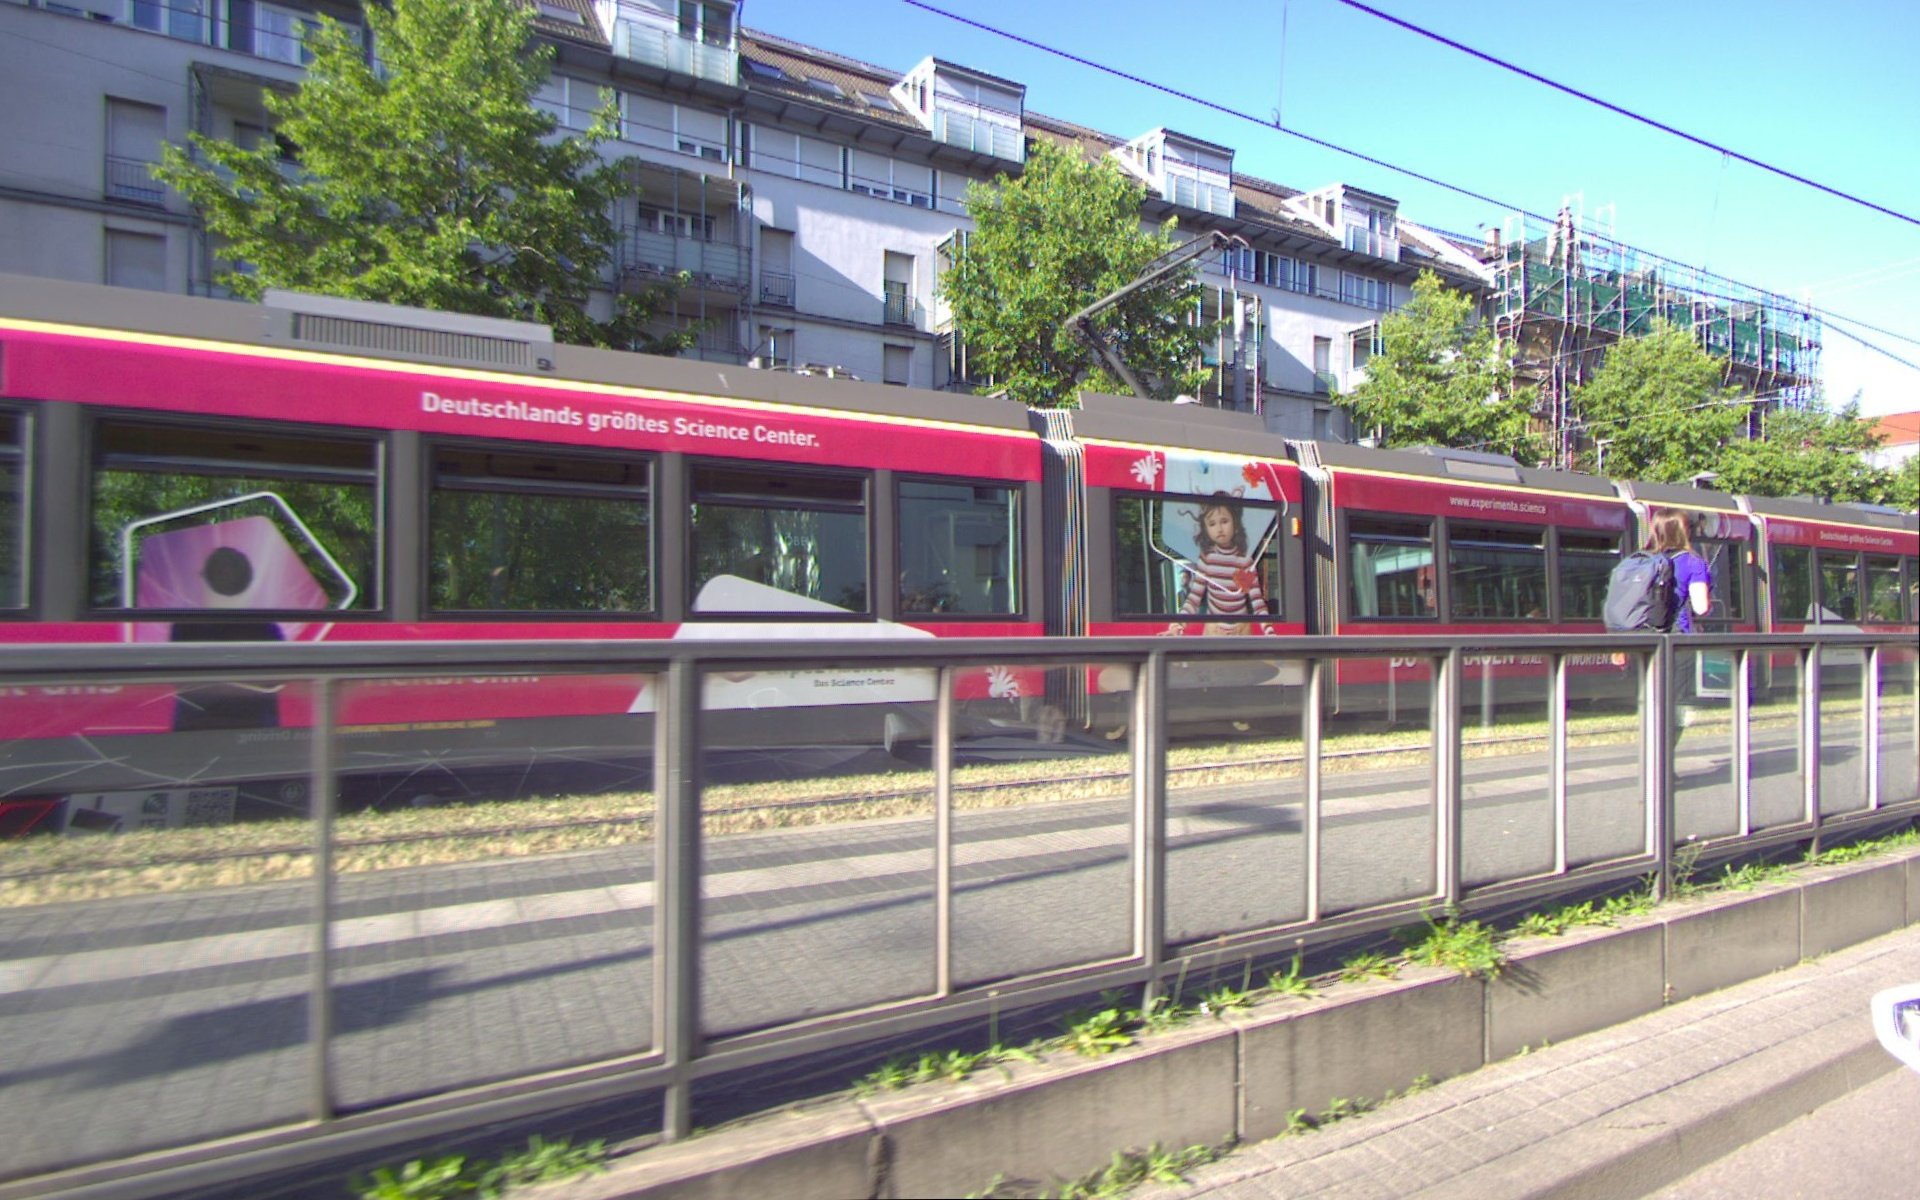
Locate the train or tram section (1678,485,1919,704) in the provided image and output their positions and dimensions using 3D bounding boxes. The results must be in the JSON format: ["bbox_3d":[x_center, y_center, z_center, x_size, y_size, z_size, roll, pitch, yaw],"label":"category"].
[{"bbox_3d":[18.886,-0.011,20.672,9.565,3.734,2.858,1,-1,-29],"label":"train or tram section"}]

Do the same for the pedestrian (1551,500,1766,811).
[{"bbox_3d":[4.020,0.292,5.787,0.971,1.631,0.626,1,1,-30],"label":"pedestrian"}]

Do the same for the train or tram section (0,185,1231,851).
[{"bbox_3d":[-4.241,-0.415,7.874,14.381,3.724,2.858,1,-1,-29],"label":"train or tram section"}]

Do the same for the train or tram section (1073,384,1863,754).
[{"bbox_3d":[8.393,-0.195,14.876,14.381,3.734,2.858,1,-1,-29],"label":"train or tram section"}]
